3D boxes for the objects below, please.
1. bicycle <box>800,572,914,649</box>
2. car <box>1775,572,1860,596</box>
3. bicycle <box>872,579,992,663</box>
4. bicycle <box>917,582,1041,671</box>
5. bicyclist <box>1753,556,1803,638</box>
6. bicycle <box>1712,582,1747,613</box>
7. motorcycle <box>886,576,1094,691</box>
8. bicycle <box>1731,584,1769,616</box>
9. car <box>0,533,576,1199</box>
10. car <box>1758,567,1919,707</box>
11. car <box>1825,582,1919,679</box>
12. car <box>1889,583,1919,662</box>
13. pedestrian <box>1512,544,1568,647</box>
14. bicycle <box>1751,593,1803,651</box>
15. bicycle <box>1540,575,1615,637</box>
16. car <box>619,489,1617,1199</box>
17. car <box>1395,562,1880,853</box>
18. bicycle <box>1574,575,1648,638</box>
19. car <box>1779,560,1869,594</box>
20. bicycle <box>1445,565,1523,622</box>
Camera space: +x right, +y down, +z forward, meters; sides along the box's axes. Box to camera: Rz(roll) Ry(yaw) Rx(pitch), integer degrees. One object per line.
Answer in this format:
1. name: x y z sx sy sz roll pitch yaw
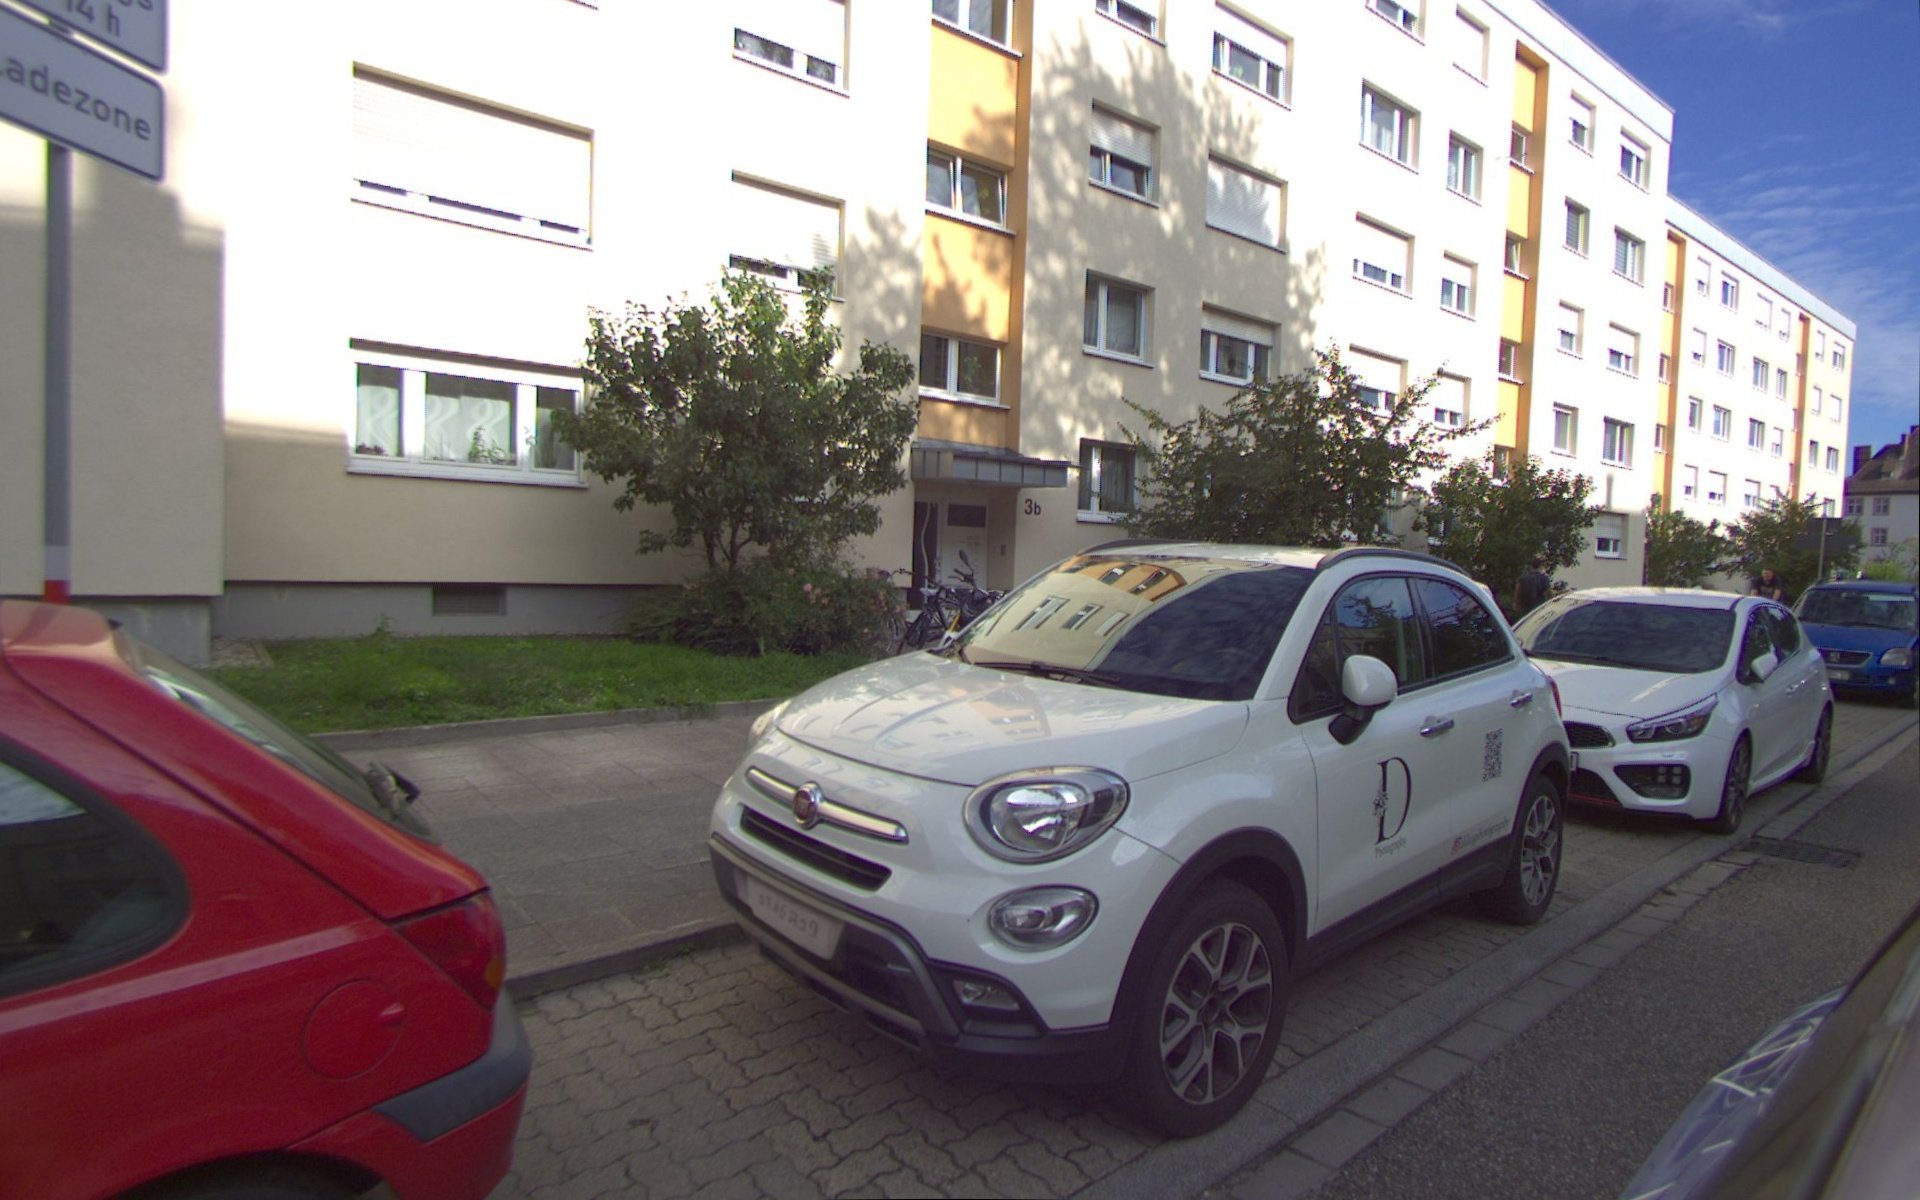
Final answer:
1. bicycle: -1.345 0.122 13.357 1.491 0.938 0.459 0 4 -42
2. car: 59.288 -1.106 70.055 1.833 1.500 4.096 0 3 -31
3. bicycle: -0.326 0.236 12.332 1.491 0.938 0.459 0 4 -42
4. bicycle: 0.242 0.286 11.727 1.491 0.953 0.459 0 4 -42
5. bicyclist: 17.360 -0.078 21.476 0.877 1.698 0.624 0 2 -42
6. bicycle: 27.344 -0.100 35.969 2.059 1.042 0.503 -1 6 -41
7. motorcycle: 0.366 0.312 10.618 2.353 1.057 0.632 0 4 -42
8. bicycle: 27.801 -0.028 35.583 2.082 1.042 0.595 -1 6 -41
9. car: -2.507 0.618 1.078 3.616 1.414 1.517 -1 4 -45
10. car: 13.239 0.438 14.611 4.042 1.669 1.734 0 4 -39
11. car: 16.640 0.484 17.677 4.045 1.478 1.732 -1 4 -42
12. car: 20.755 0.457 21.089 4.122 1.533 1.731 -1 4 -44
13. pedestrian: 10.097 -0.084 17.627 0.757 1.743 0.544 0 1 -35
14. bicycle: 17.384 0.448 21.517 1.896 1.149 0.524 0 3 -42
15. bicycle: 14.038 0.116 22.959 2.589 1.306 0.605 -1 5 -41
16. car: 0.970 0.501 4.023 4.047 1.599 1.732 -1 4 -43
17. car: 5.272 0.548 7.607 4.559 1.505 1.733 0 4 -40
18. bicycle: 14.502 0.123 22.505 2.589 1.306 0.605 -1 4 -41
19. car: 61.338 -1.668 71.912 2.320 2.219 4.286 0 3 -33
20. bicycle: 12.700 -0.175 24.485 2.589 1.307 0.728 -1 2 -41
